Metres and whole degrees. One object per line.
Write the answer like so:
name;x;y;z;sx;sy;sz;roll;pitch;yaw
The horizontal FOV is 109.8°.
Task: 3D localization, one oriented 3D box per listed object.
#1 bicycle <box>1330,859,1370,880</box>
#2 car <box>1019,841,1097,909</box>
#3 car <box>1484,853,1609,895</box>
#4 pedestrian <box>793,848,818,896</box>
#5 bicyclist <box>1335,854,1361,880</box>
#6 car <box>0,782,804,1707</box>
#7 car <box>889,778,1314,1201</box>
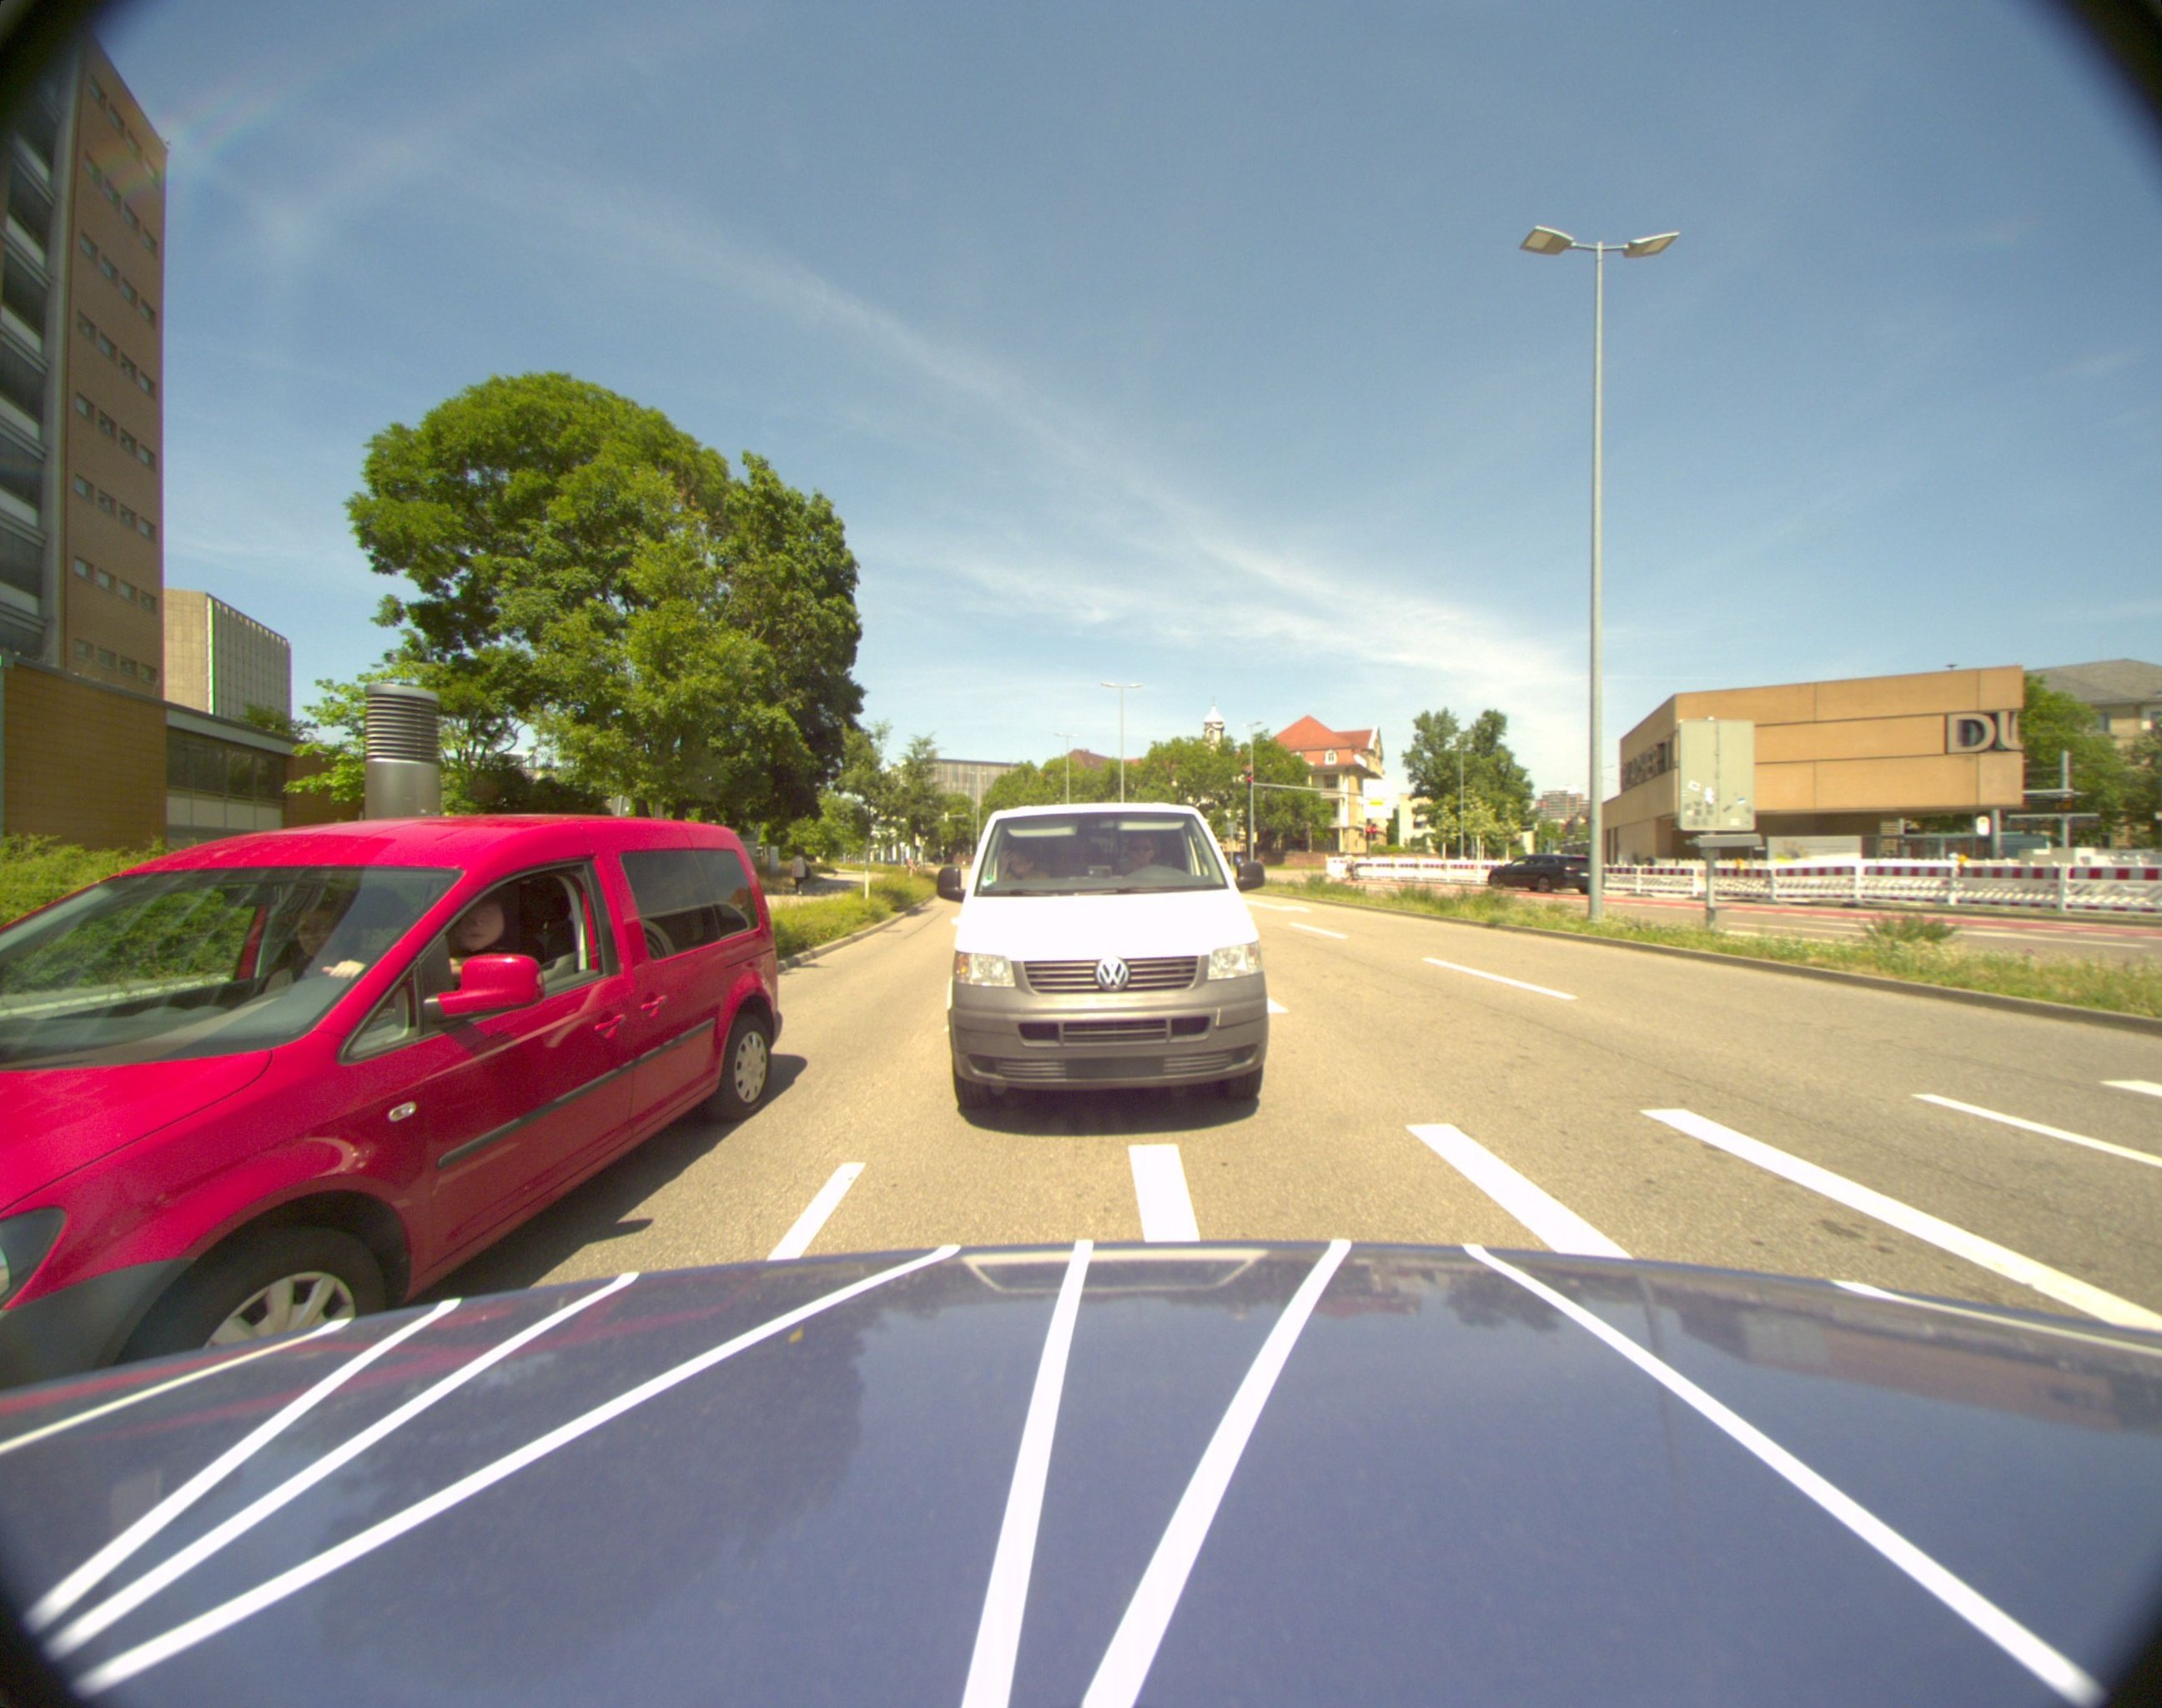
bicycle;14.375;0.802;40.685;0.879;1.066;2.229;-2;1;-14
car;-0.872;0.640;25.298;2.000;2.002;3.996;-2;1;-10
car;17.553;0.700;28.976;1.998;1.456;4.847;0;0;3
pedestrian;-10.431;0.684;28.788;0.728;1.787;0.614;0;1;1
bicyclist;14.323;0.699;40.721;0.587;1.348;1.438;-3;1;-14
car;-2.850;0.805;3.106;1.655;1.848;4.546;-1;0;1
car;0.065;0.640;6.062;1.971;1.958;4.848;-2;0;-1
